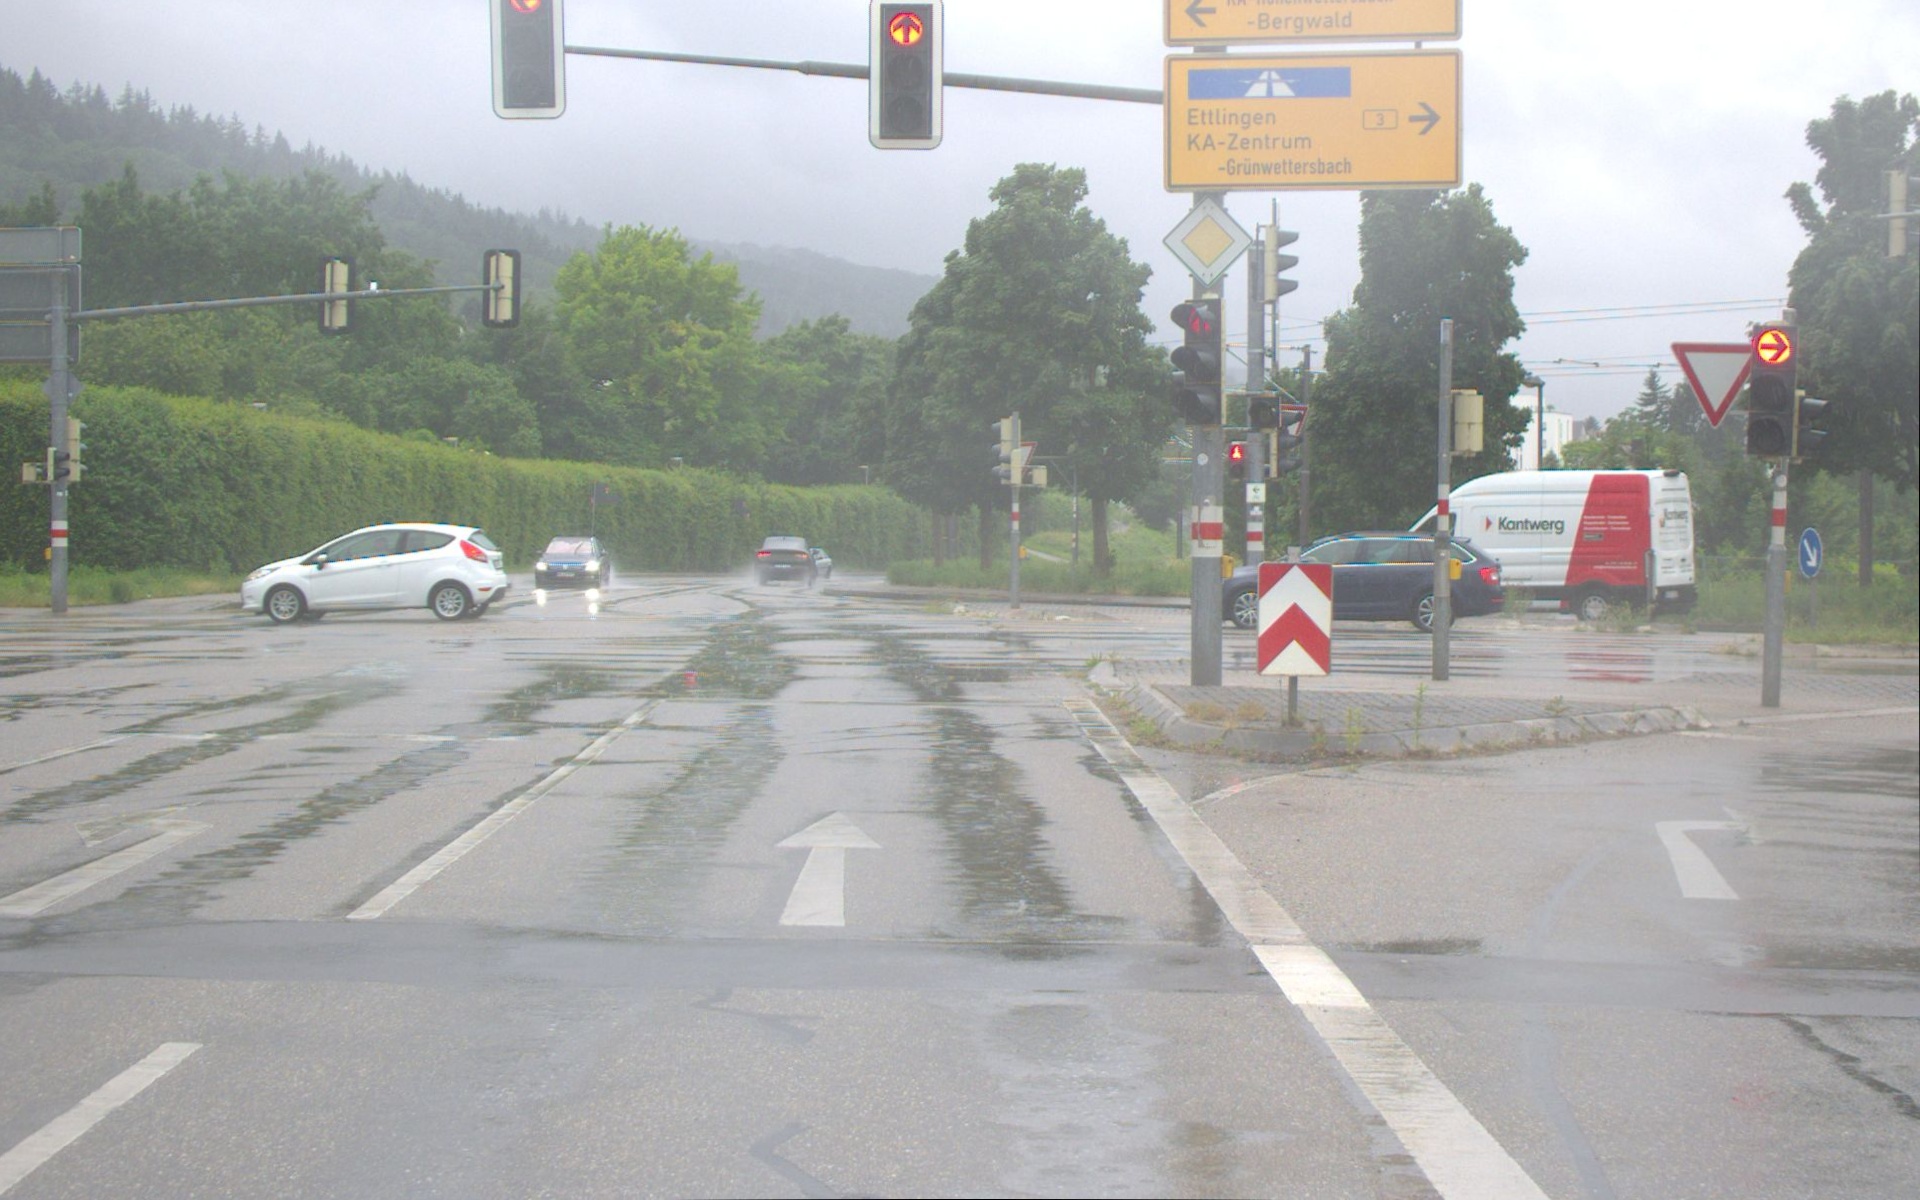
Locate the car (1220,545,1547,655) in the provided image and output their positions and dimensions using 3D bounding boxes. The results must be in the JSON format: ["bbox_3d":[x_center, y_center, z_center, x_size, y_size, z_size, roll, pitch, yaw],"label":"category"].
[{"bbox_3d":[6.234,-0.017,51.008,4.670,1.548,1.822,0,2,3],"label":"car"}]

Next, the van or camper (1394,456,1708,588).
[{"bbox_3d":[10.177,-1.366,59.334,4.857,2.161,2.157,2,2,31],"label":"van or camper"}]

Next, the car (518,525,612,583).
[{"bbox_3d":[-11.301,-1.331,98.629,1.879,1.568,4.644,-1,1,3],"label":"car"}]

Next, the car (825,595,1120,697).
[{"bbox_3d":[0.234,0.722,55.176,4.670,1.548,1.822,0,2,3],"label":"car"}]

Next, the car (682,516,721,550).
[{"bbox_3d":[-11.516,-2.999,153.370,1.558,1.476,3.361,1,2,-2],"label":"car"}]

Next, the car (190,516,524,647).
[{"bbox_3d":[-9.066,-0.303,51.941,4.670,1.909,1.915,0,2,3],"label":"car"}]
